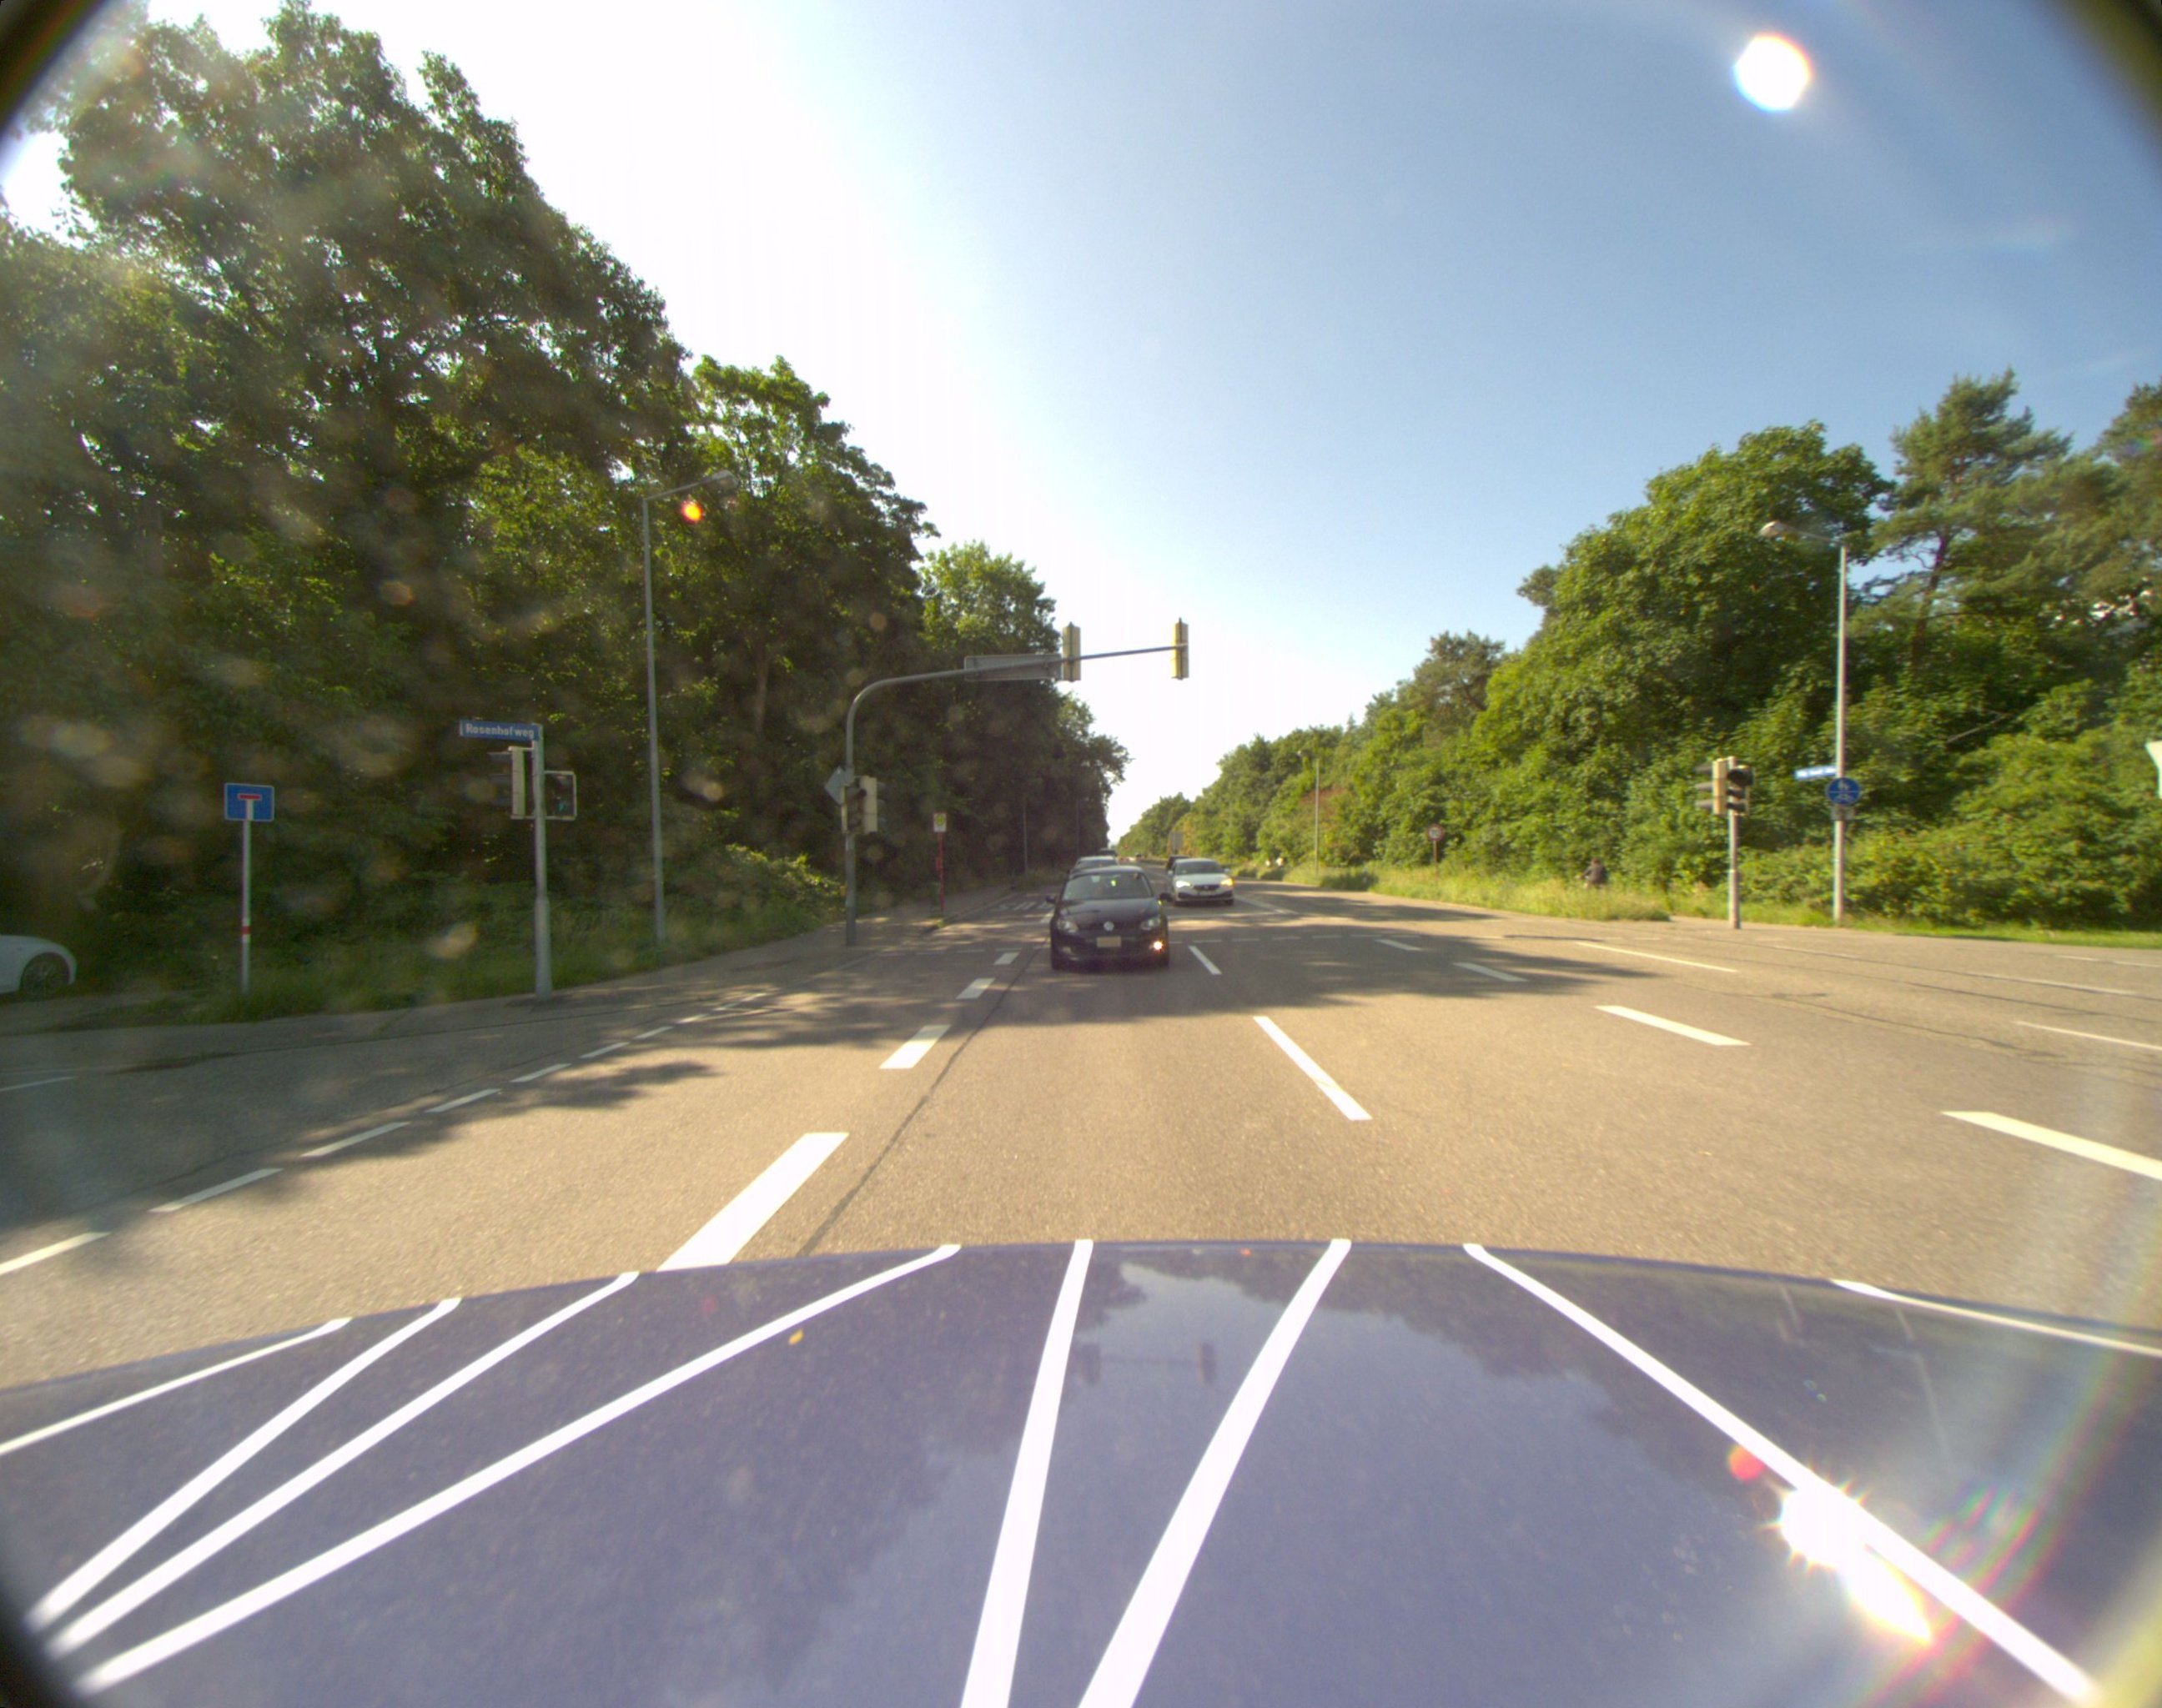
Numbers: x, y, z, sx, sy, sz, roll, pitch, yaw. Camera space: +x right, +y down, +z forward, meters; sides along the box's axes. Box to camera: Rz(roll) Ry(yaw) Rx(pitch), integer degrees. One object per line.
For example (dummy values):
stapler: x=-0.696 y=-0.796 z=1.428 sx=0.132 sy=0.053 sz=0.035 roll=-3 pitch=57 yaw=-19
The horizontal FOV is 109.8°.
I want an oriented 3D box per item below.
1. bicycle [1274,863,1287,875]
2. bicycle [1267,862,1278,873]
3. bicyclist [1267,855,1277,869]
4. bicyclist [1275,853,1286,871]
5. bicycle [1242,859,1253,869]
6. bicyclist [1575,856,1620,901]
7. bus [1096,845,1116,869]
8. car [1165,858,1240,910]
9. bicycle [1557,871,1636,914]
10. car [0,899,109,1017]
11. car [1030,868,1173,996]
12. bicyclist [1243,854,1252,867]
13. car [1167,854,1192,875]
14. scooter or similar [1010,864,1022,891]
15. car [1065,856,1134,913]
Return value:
bicycle: x=16.374 y=1.236 z=62.320 sx=0.605 sy=0.909 sz=2.139 roll=-1 pitch=0 yaw=4
bicycle: x=16.845 y=1.151 z=66.867 sx=0.605 sy=0.952 sz=2.139 roll=-1 pitch=0 yaw=4
bicyclist: x=16.812 y=0.699 z=66.902 sx=0.702 sy=1.256 sz=0.727 roll=-3 pitch=1 yaw=4
bicyclist: x=16.360 y=0.674 z=62.323 sx=0.612 sy=1.458 sz=0.945 roll=-3 pitch=1 yaw=4
bicycle: x=17.239 y=0.994 z=78.672 sx=0.676 sy=0.951 sz=1.913 roll=-3 pitch=1 yaw=-1
bicyclist: x=15.190 y=0.712 z=22.380 sx=0.723 sy=1.303 sz=0.883 roll=-1 pitch=0 yaw=0
bus: x=3.756 y=0.405 z=115.583 sx=2.782 sy=3.437 sz=7.794 roll=-3 pitch=0 yaw=2
car: x=3.754 y=0.888 z=24.220 sx=1.788 sy=1.416 sz=4.424 roll=-3 pitch=0 yaw=2
bicycle: x=15.199 y=1.100 z=22.500 sx=0.734 sy=1.156 sz=2.373 roll=-1 pitch=0 yaw=0
car: x=-14.594 y=1.400 z=8.890 sx=1.630 sy=1.455 sz=4.608 roll=-1 pitch=0 yaw=-18
car: x=0.485 y=0.993 z=11.259 sx=1.649 sy=1.422 sz=4.057 roll=-3 pitch=0 yaw=7
bicyclist: x=17.225 y=0.699 z=78.643 sx=0.676 sy=1.335 sz=0.975 roll=-3 pitch=1 yaw=-1
car: x=8.454 y=0.880 z=65.477 sx=1.795 sy=1.687 sz=4.392 roll=0 pitch=1 yaw=2
scooter or similar: x=-3.311 y=1.183 z=38.588 sx=0.401 sy=1.299 sz=1.329 roll=-1 pitch=0 yaw=-12
car: x=0.711 y=0.950 z=25.320 sx=1.812 sy=1.639 sz=4.309 roll=-2 pitch=0 yaw=7
